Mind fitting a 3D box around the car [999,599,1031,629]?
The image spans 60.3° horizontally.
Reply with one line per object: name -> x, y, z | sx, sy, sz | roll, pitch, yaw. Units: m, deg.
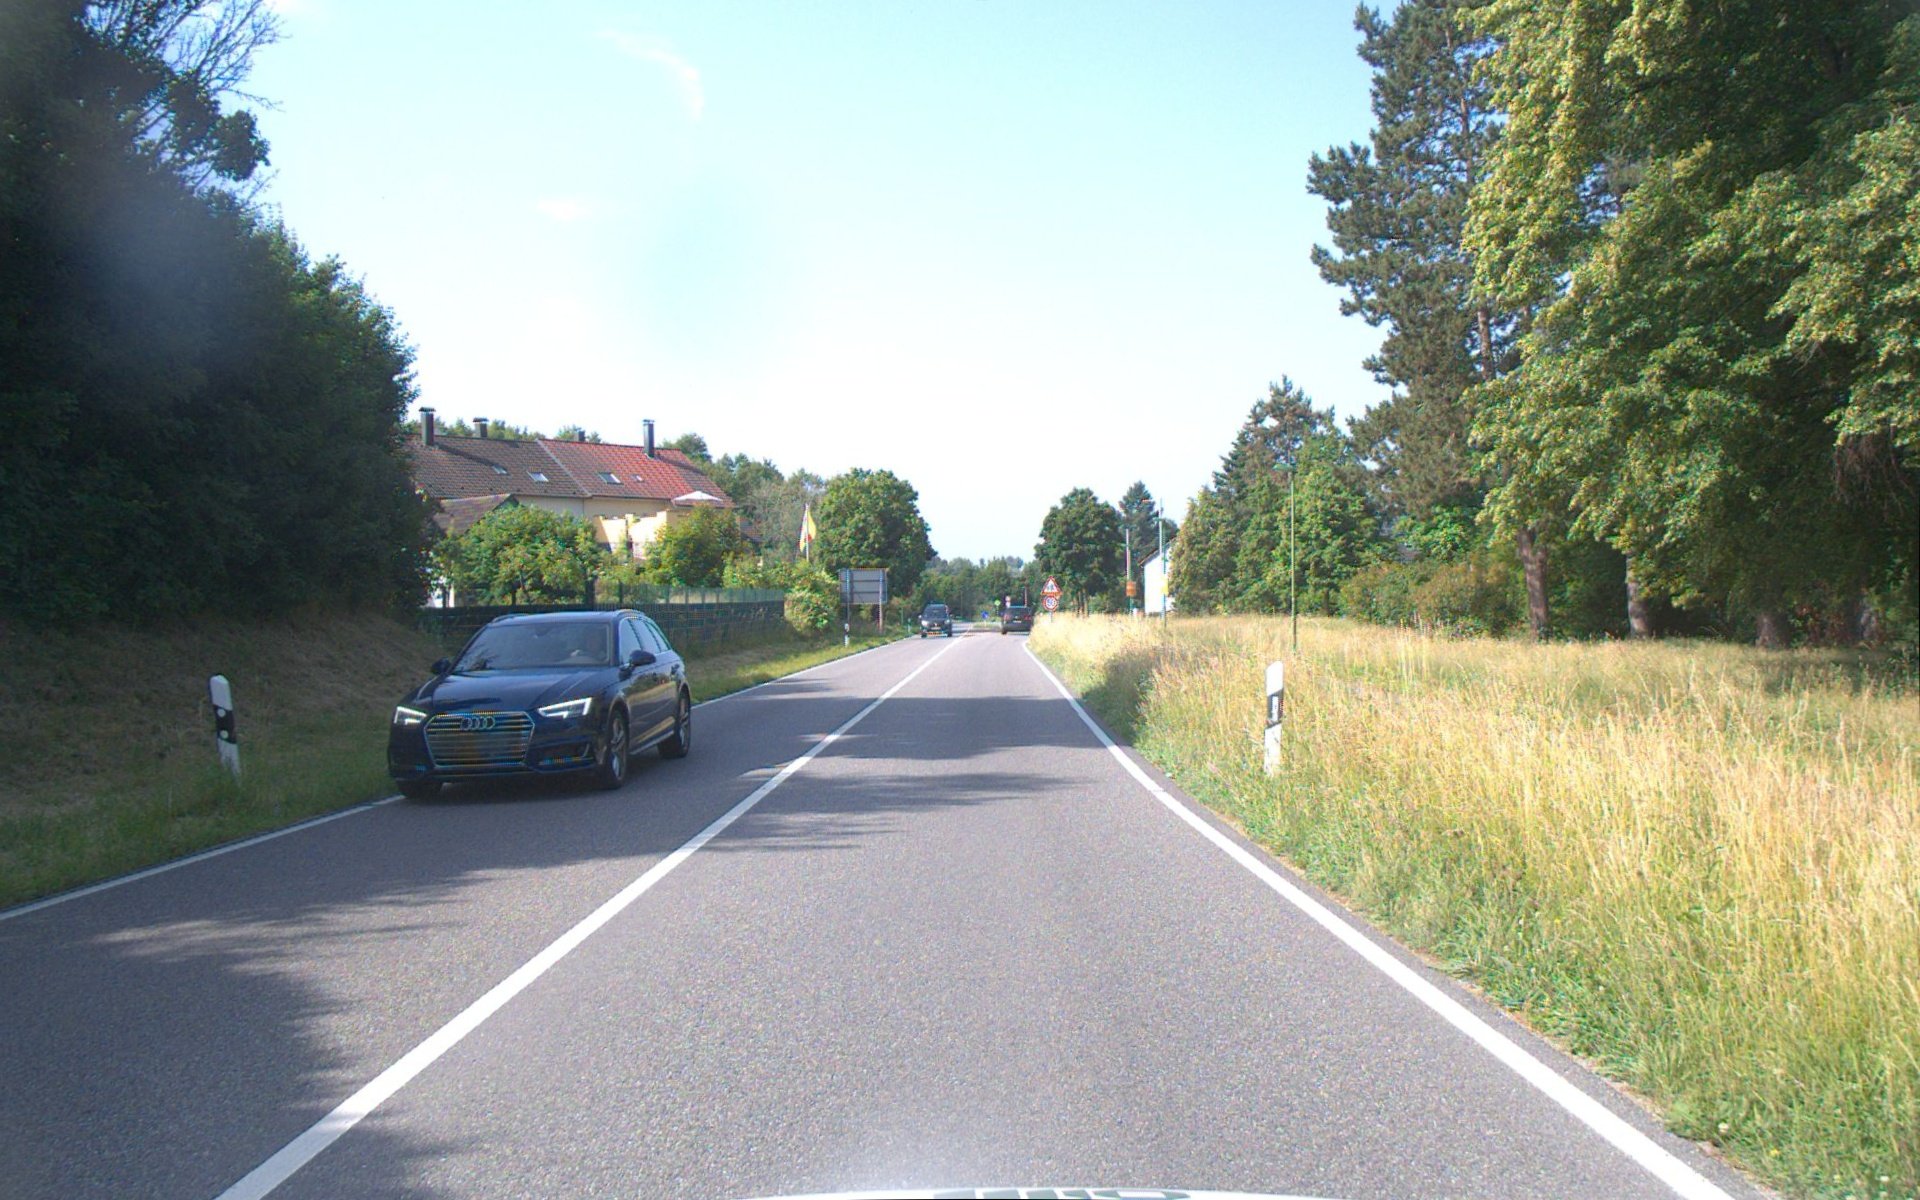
car -> 3.345, 0.836, 100.538 | 1.885, 1.802, 4.001 | -1, 0, 2

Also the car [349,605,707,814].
car -> -3.594, 0.831, 14.691 | 1.832, 1.448, 4.577 | -3, 0, 1

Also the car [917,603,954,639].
car -> -1.355, 1.169, 93.488 | 1.899, 1.849, 4.242 | -3, 0, 1
